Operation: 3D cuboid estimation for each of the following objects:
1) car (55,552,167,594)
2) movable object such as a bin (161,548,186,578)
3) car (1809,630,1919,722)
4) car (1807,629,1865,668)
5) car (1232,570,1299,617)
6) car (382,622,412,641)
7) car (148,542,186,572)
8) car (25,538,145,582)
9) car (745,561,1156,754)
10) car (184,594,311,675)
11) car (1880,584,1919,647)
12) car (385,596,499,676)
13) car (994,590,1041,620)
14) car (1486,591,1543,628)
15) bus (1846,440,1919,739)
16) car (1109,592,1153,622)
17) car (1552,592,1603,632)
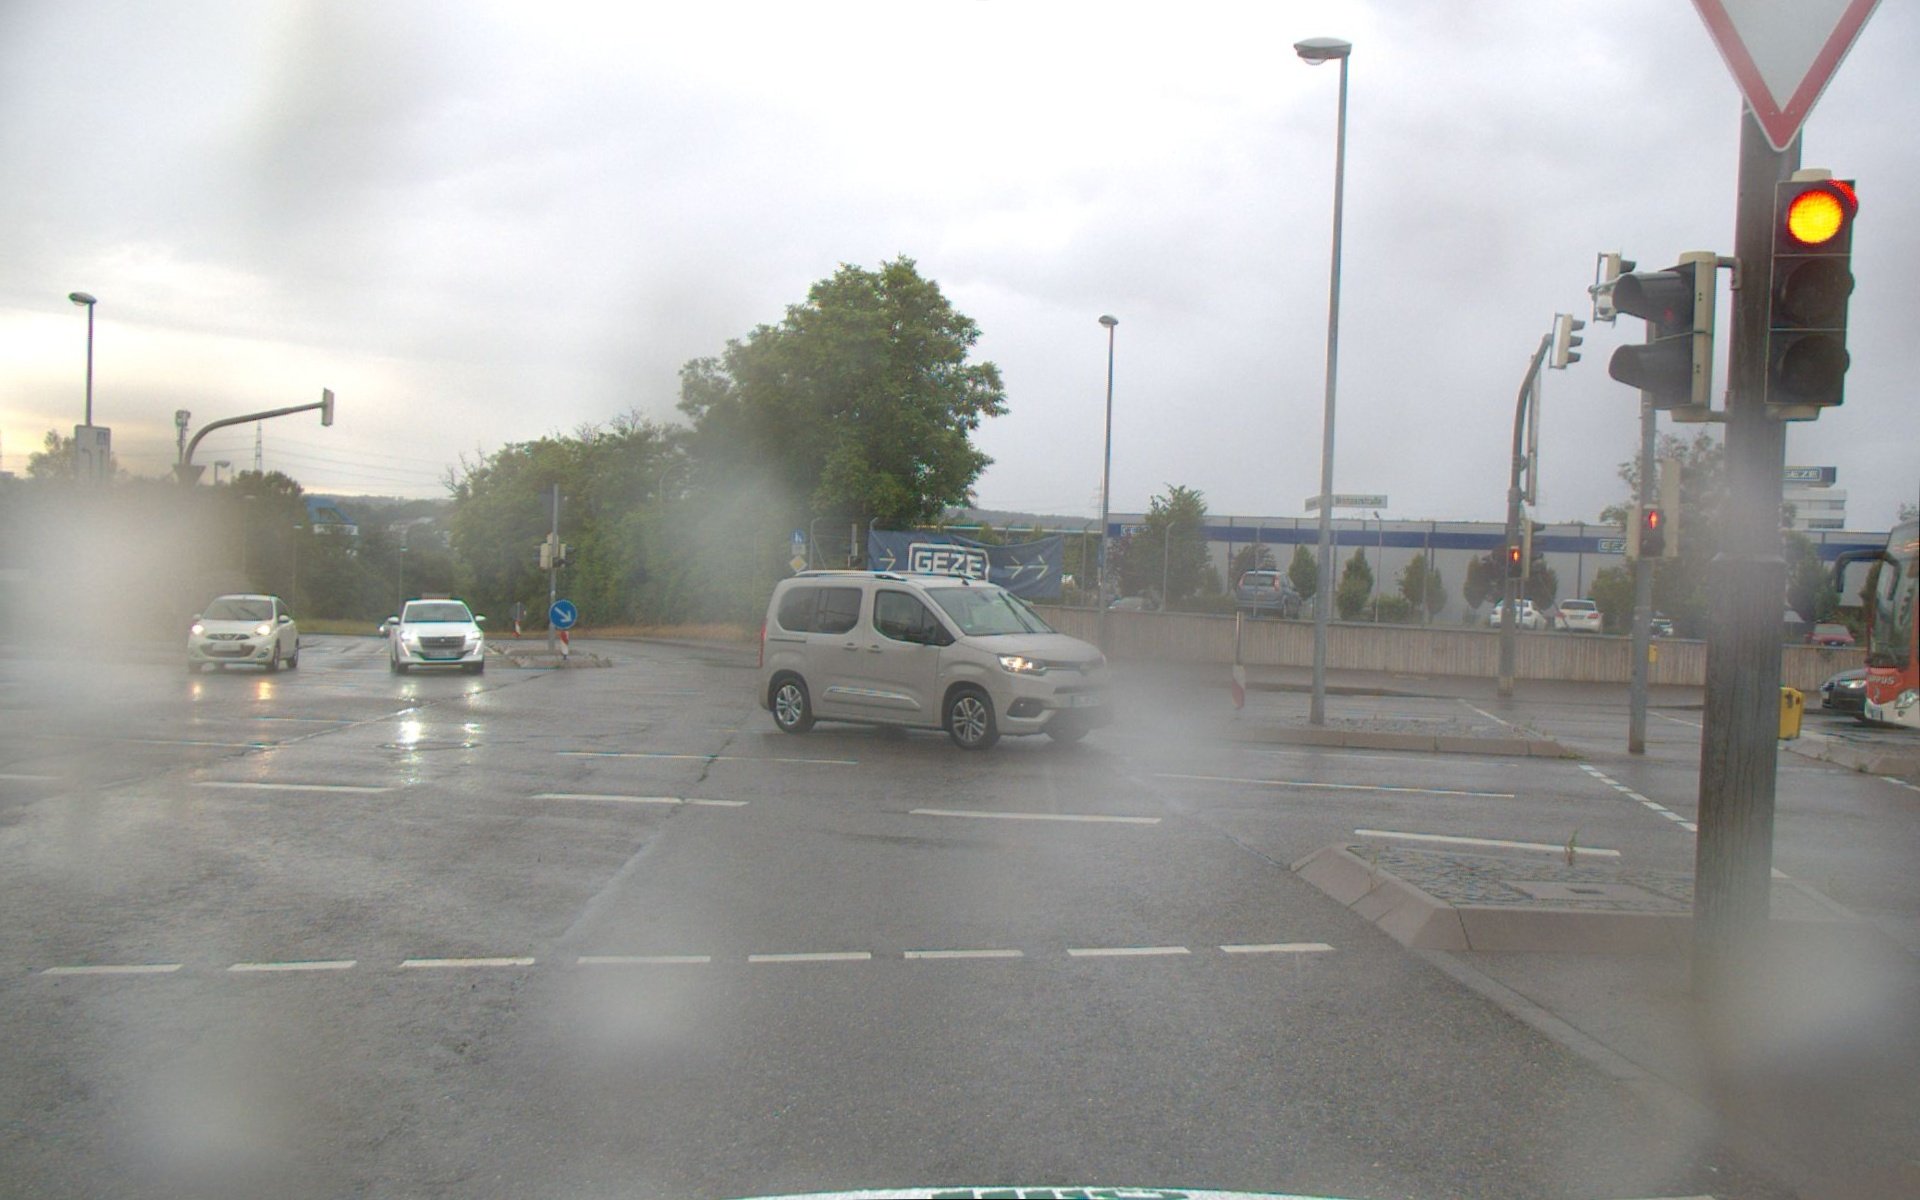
[{"bbox_3d":[-36.320,-1.157,70.783,3.902,1.614,1.903,1,-2,12],"label":"car"},{"bbox_3d":[-40.957,-1.908,86.160,1.071,1.462,1.434,3,-2,-27],"label":"movable object such as a bin"},{"bbox_3d":[16.287,1.261,26.683,4.286,1.378,1.827,2,0,16],"label":"car"},{"bbox_3d":[39.197,2.153,74.094,1.883,1.616,3.788,2,0,22],"label":"car"},{"bbox_3d":[10.655,-0.216,57.596,1.707,1.580,3.531,1,0,20],"label":"car"},{"bbox_3d":[-46.975,2.592,138.100,1.630,1.521,3.992,1,-1,-9],"label":"car"},{"bbox_3d":[-45.027,-2.431,93.852,1.806,1.467,3.964,3,-2,-27],"label":"car"},{"bbox_3d":[-35.844,-1.621,67.821,3.902,1.614,1.903,1,-2,8],"label":"car"},{"bbox_3d":[-0.205,0.548,18.341,4.405,1.876,1.987,1,0,43],"label":"car"},{"bbox_3d":[-14.648,0.664,34.181,1.591,1.531,3.813,0,1,-11],"label":"car"},{"bbox_3d":[32.410,0.545,55.918,1.707,2.049,3.824,1,0,20],"label":"car"},{"bbox_3d":[-10.809,0.711,34.355,1.840,1.534,3.952,1,0,-23],"label":"car"},{"bbox_3d":[3.357,0.298,95.943,1.632,1.634,3.531,1,0,20],"label":"car"},{"bbox_3d":[23.040,0.415,68.694,1.781,1.459,4.100,1,0,25],"label":"car"},{"bbox_3d":[17.745,0.192,19.879,11.995,3.638,2.988,3,0,17],"label":"bus"},{"bbox_3d":[9.592,0.392,92.735,1.632,1.634,3.531,1,0,20],"label":"car"},{"bbox_3d":[25.456,0.501,68.099,1.820,1.552,4.103,1,0,22],"label":"car"}]
